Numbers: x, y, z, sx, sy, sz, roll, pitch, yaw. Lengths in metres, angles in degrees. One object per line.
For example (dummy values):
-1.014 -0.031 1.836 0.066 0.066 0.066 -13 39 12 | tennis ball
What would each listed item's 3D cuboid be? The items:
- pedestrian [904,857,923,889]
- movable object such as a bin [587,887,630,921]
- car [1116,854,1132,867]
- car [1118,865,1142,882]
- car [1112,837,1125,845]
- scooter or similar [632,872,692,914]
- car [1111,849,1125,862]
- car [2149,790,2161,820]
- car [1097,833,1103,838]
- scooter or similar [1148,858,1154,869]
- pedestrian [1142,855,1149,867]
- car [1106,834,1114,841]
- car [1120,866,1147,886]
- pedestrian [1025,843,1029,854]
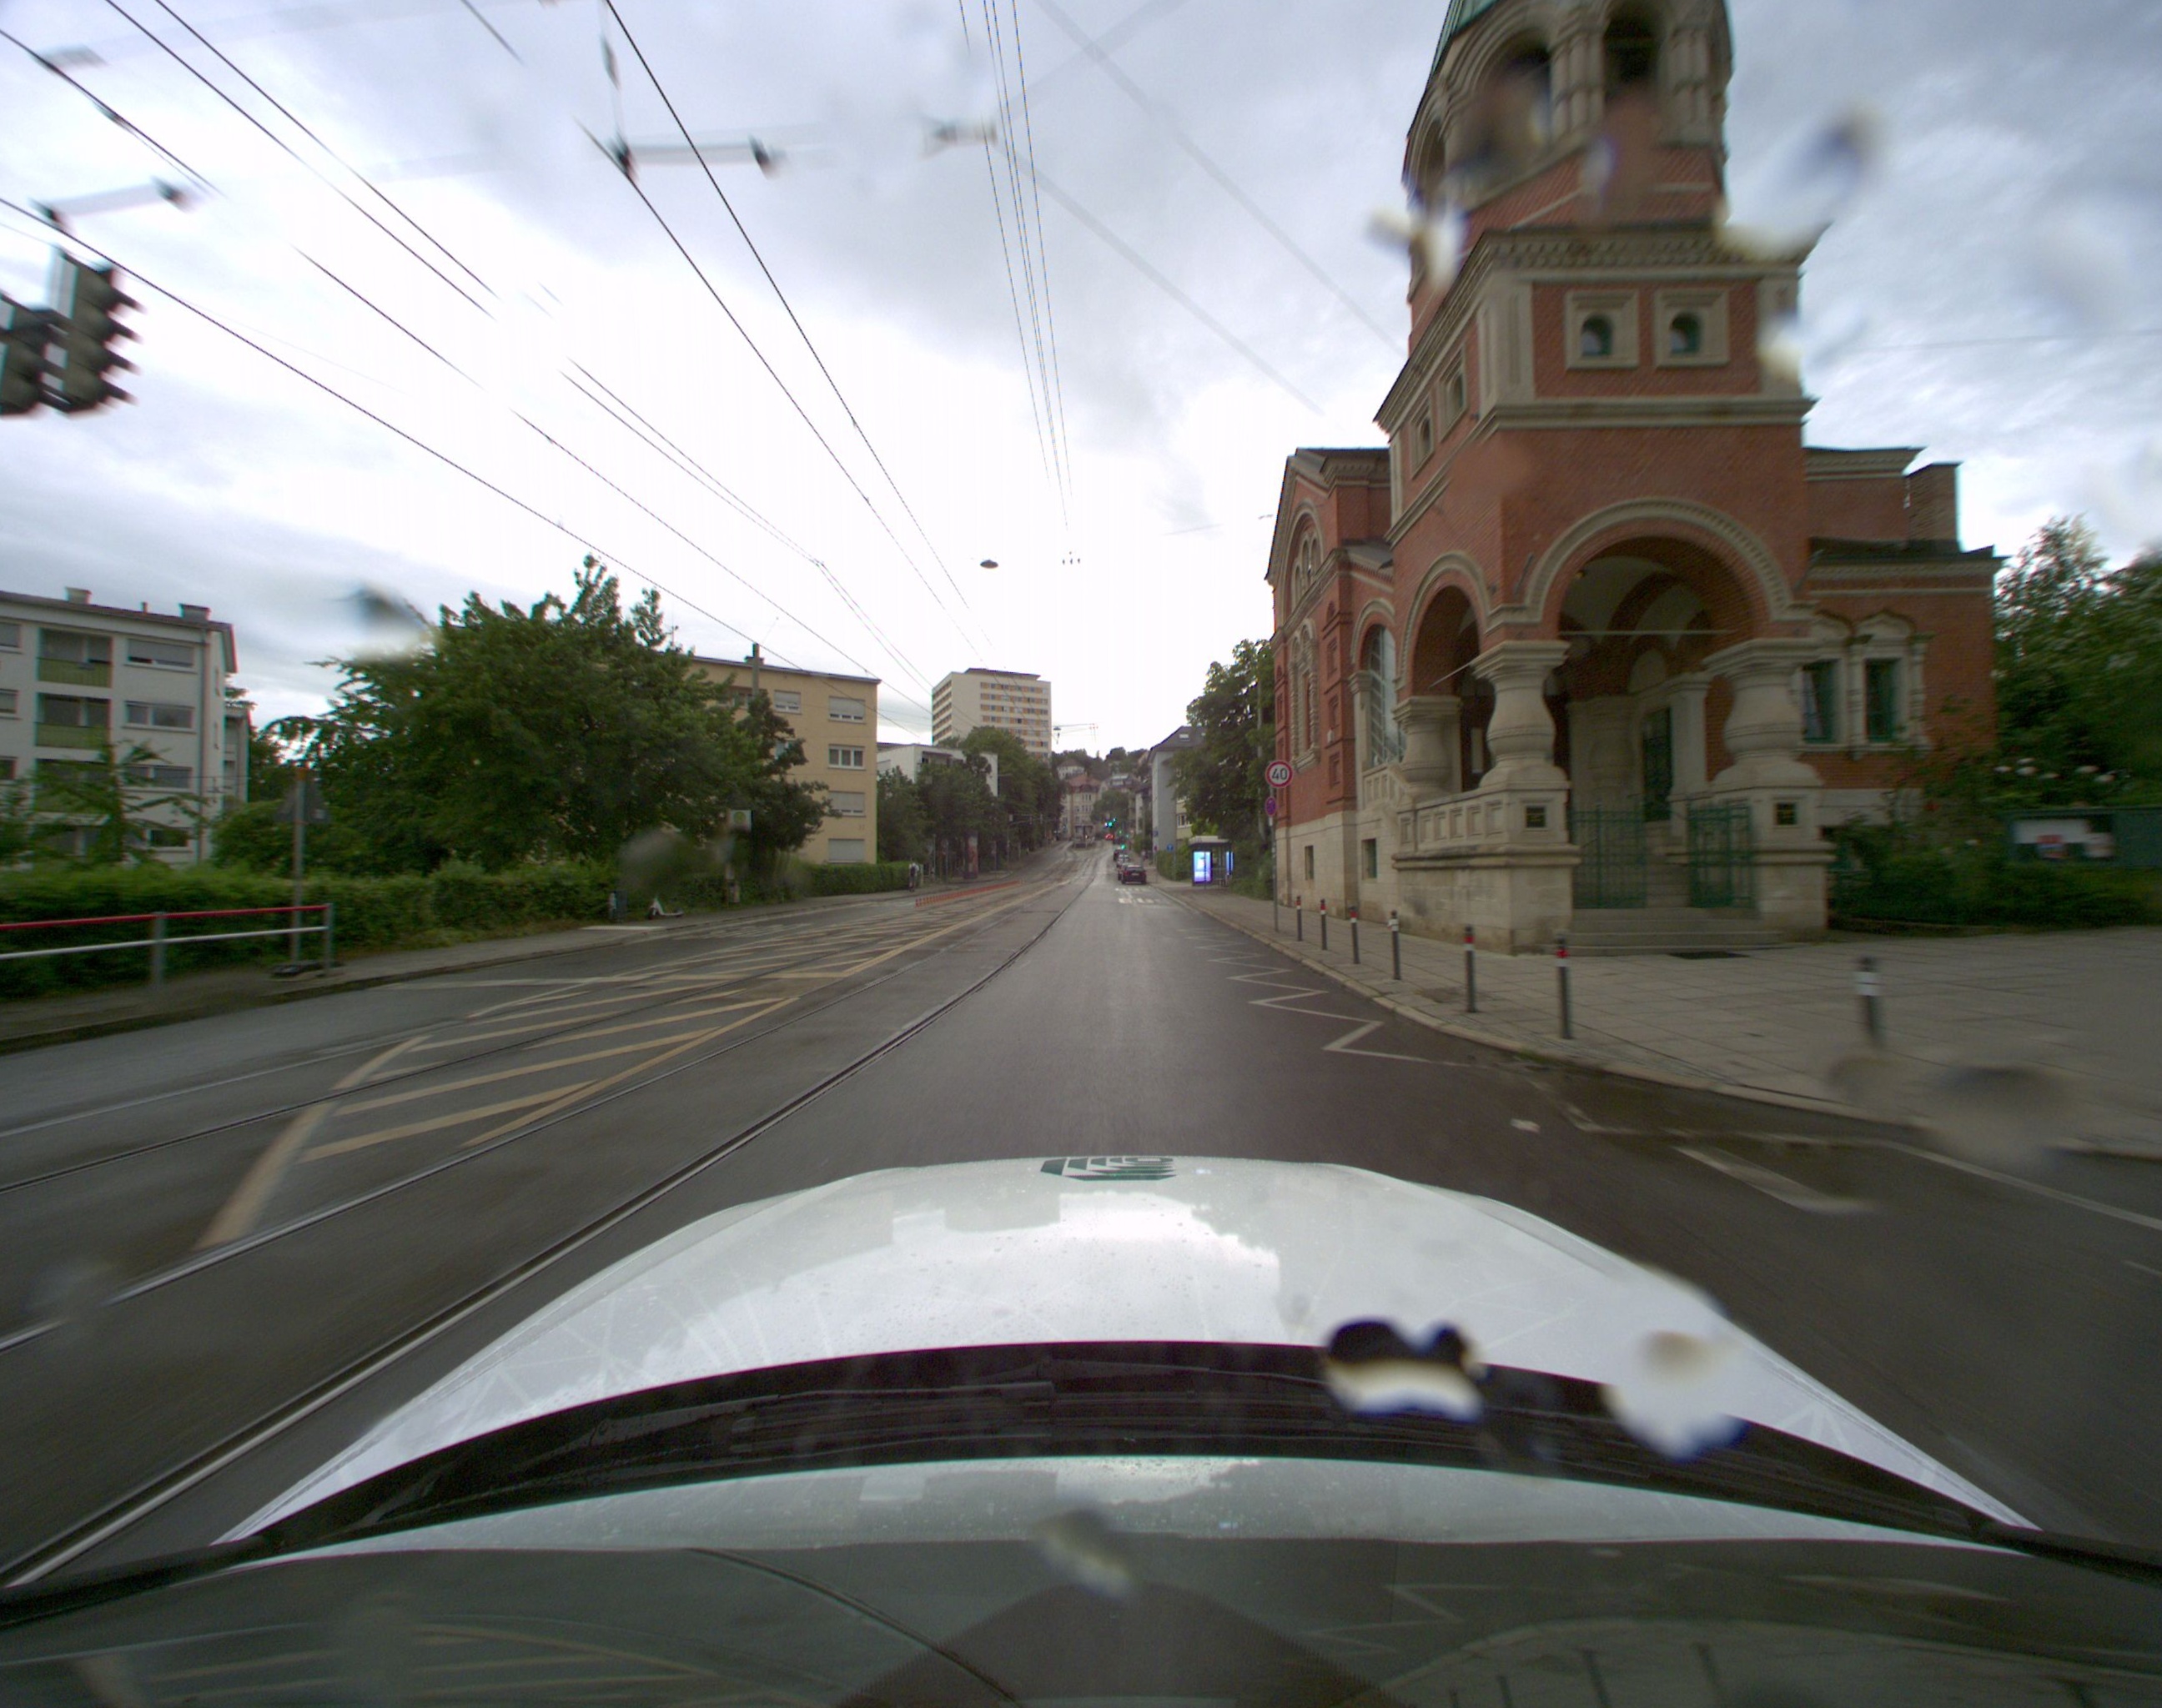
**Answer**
-9.816 1.106 47.726 0.917 1.846 1.016 2 -2 -4 | pedestrian
-12.585 1.328 21.712 0.685 0.882 0.759 1 -2 -4 | movable object such as a bin
5.192 0.751 98.964 1.698 1.433 4.103 1 1 1 | car
4.386 1.730 73.966 1.933 1.464 4.205 1 -1 0 | car
8.798 -2.996 190.943 1.786 1.645 4.021 0 -1 21 | car
-12.112 1.125 23.593 0.568 1.184 1.606 0 -2 15 | scooter or similar
5.214 0.230 115.199 1.899 1.641 4.691 1 1 1 | car
44.788 -2.049 32.841 3.850 1.205 1.672 -3 0 -43 | car
5.891 -5.759 255.544 1.899 1.641 4.691 1 1 1 | car
8.557 1.132 99.494 0.571 1.249 1.614 0 4 7 | scooter or similar
8.689 0.976 109.443 0.878 1.583 0.802 -1 3 4 | pedestrian
8.096 -4.619 227.431 1.899 1.641 4.691 1 1 1 | car
3.987 1.648 62.400 1.851 1.487 4.645 1 -1 1 | car
-8.534 -0.877 128.981 0.581 1.600 0.869 2 0 -2 | pedestrian
